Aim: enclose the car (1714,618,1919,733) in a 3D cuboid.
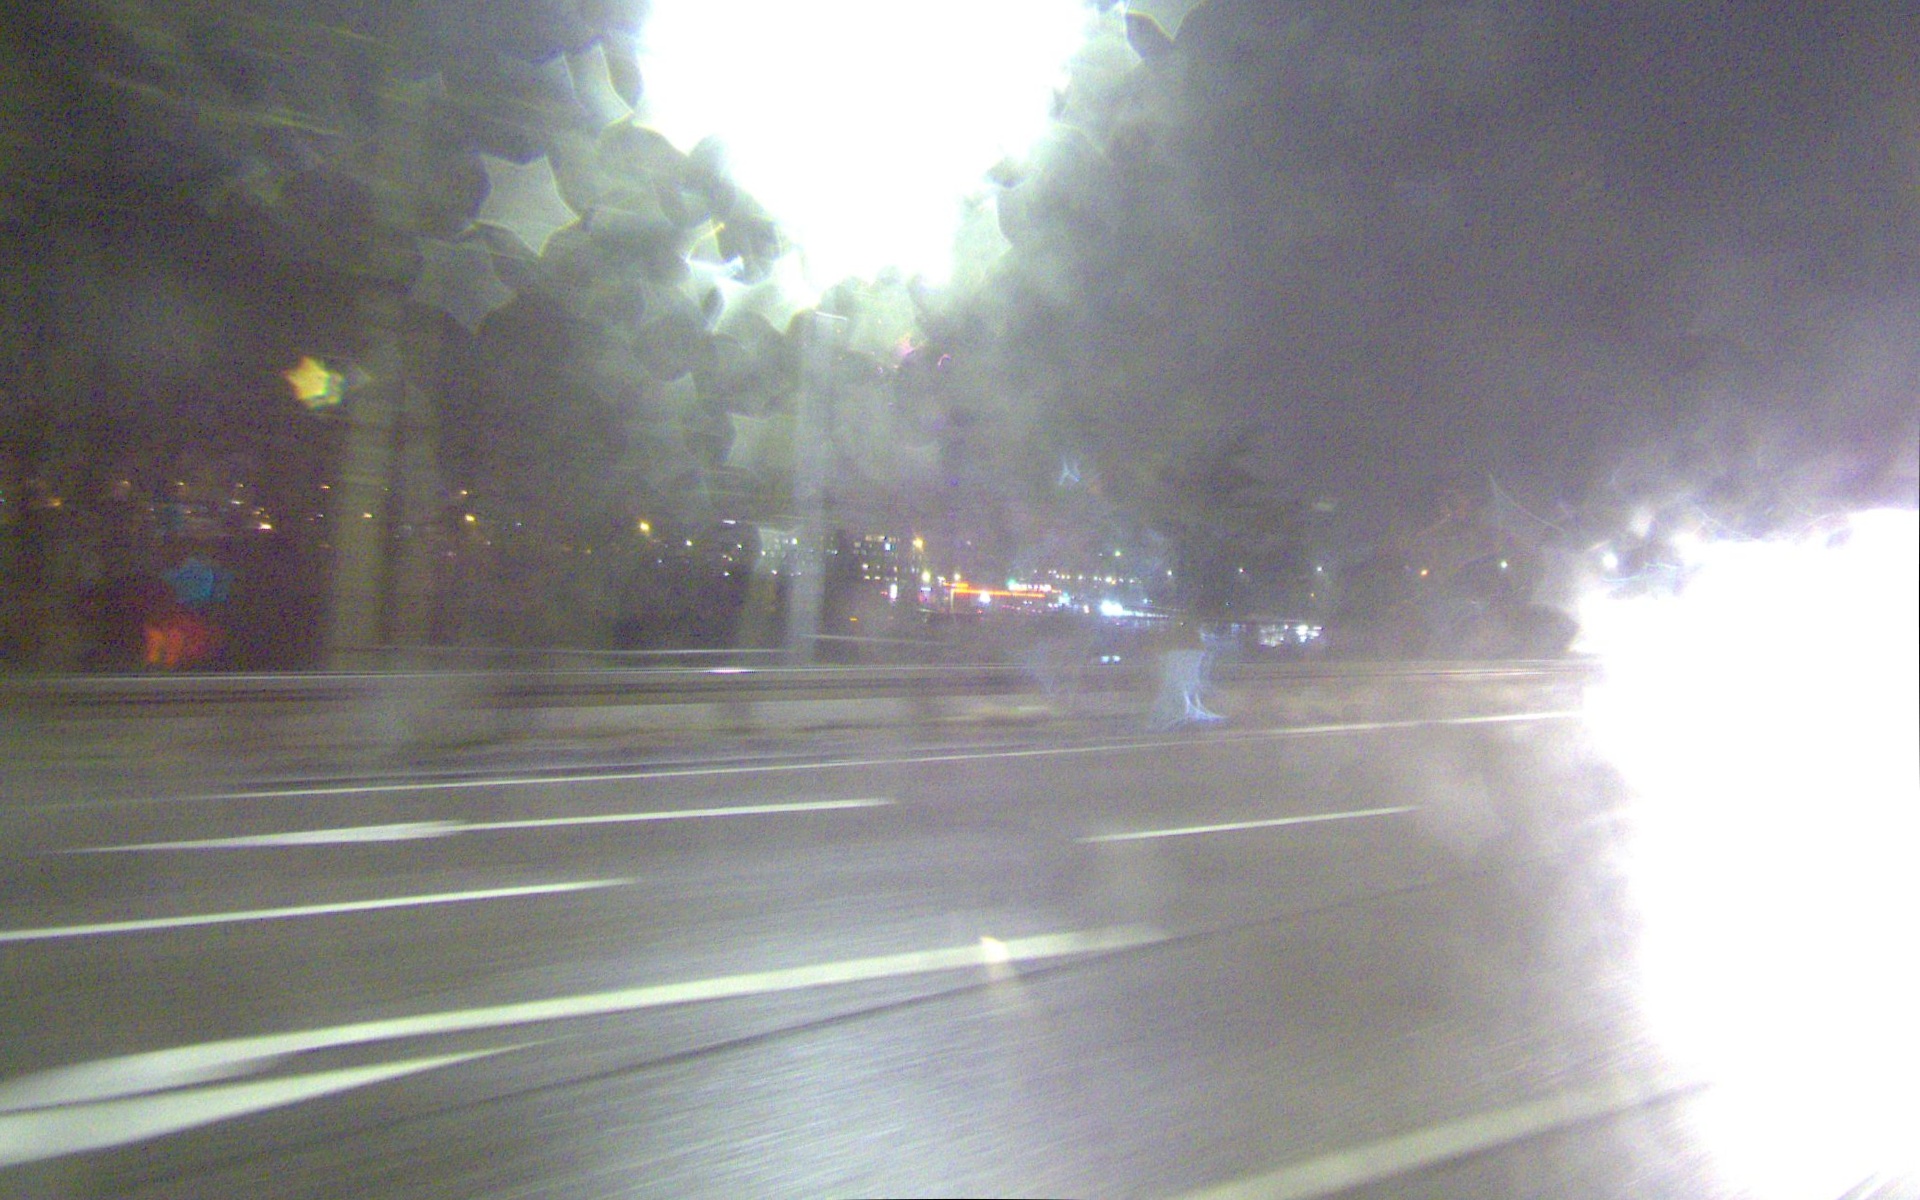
[{"bbox_3d":[13.571,1.083,15.553,3.905,1.537,1.757,1,0,-32],"label":"car"}]
